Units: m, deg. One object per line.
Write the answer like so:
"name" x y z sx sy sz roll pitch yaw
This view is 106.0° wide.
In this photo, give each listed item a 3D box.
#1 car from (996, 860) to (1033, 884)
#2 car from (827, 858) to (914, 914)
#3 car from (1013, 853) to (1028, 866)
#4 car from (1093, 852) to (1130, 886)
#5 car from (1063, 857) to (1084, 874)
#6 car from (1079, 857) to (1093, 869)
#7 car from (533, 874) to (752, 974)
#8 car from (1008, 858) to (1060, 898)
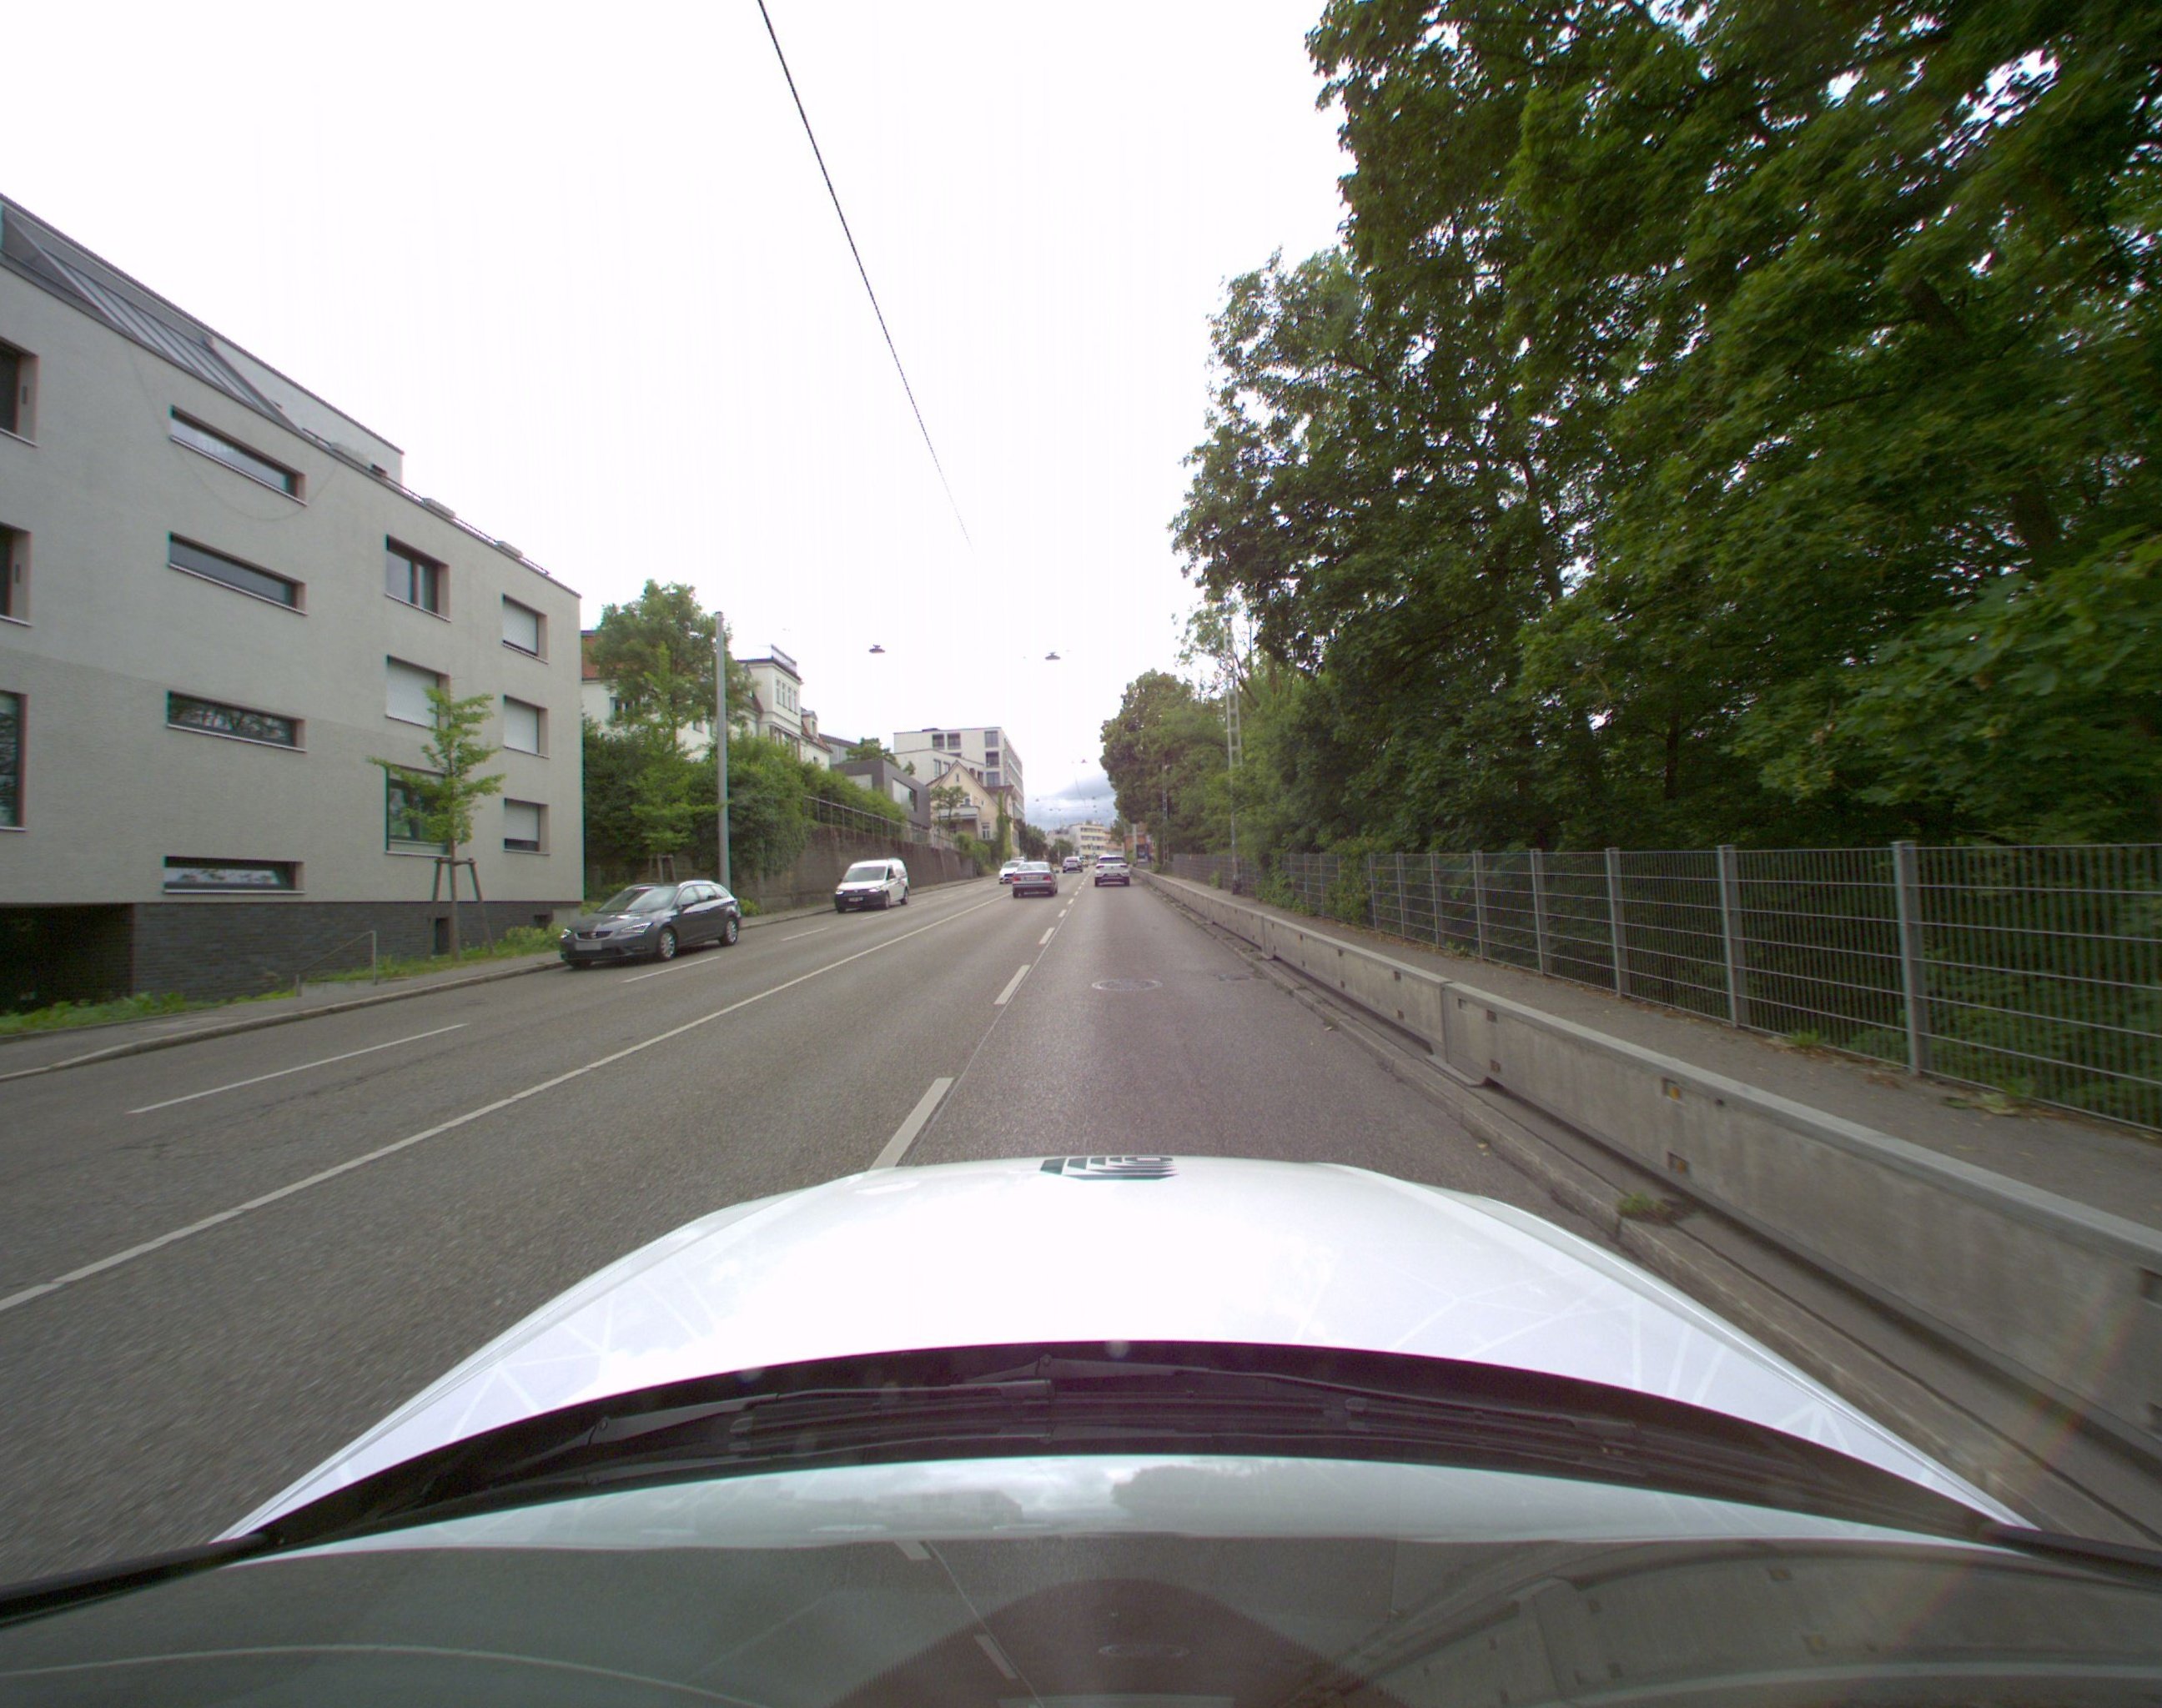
"car" -4.269 1.135 53.142 1.809 1.386 4.464 -4 0 1
"car" -7.726 1.098 30.387 1.726 1.788 4.868 -4 0 1
"car" -8.739 0.756 118.310 1.989 1.701 3.996 -3 0 -2
"car" 1.532 0.745 41.943 1.774 1.579 4.000 -1 0 0
"car" -0.677 1.013 74.612 1.700 1.464 4.001 -3 0 1
"car" 0.640 1.196 105.412 1.700 1.464 4.001 -3 0 1
"car" -8.340 1.247 16.042 1.726 1.464 4.425 -4 0 1
"car" -1.857 0.919 32.945 1.700 1.464 4.001 -3 0 1
